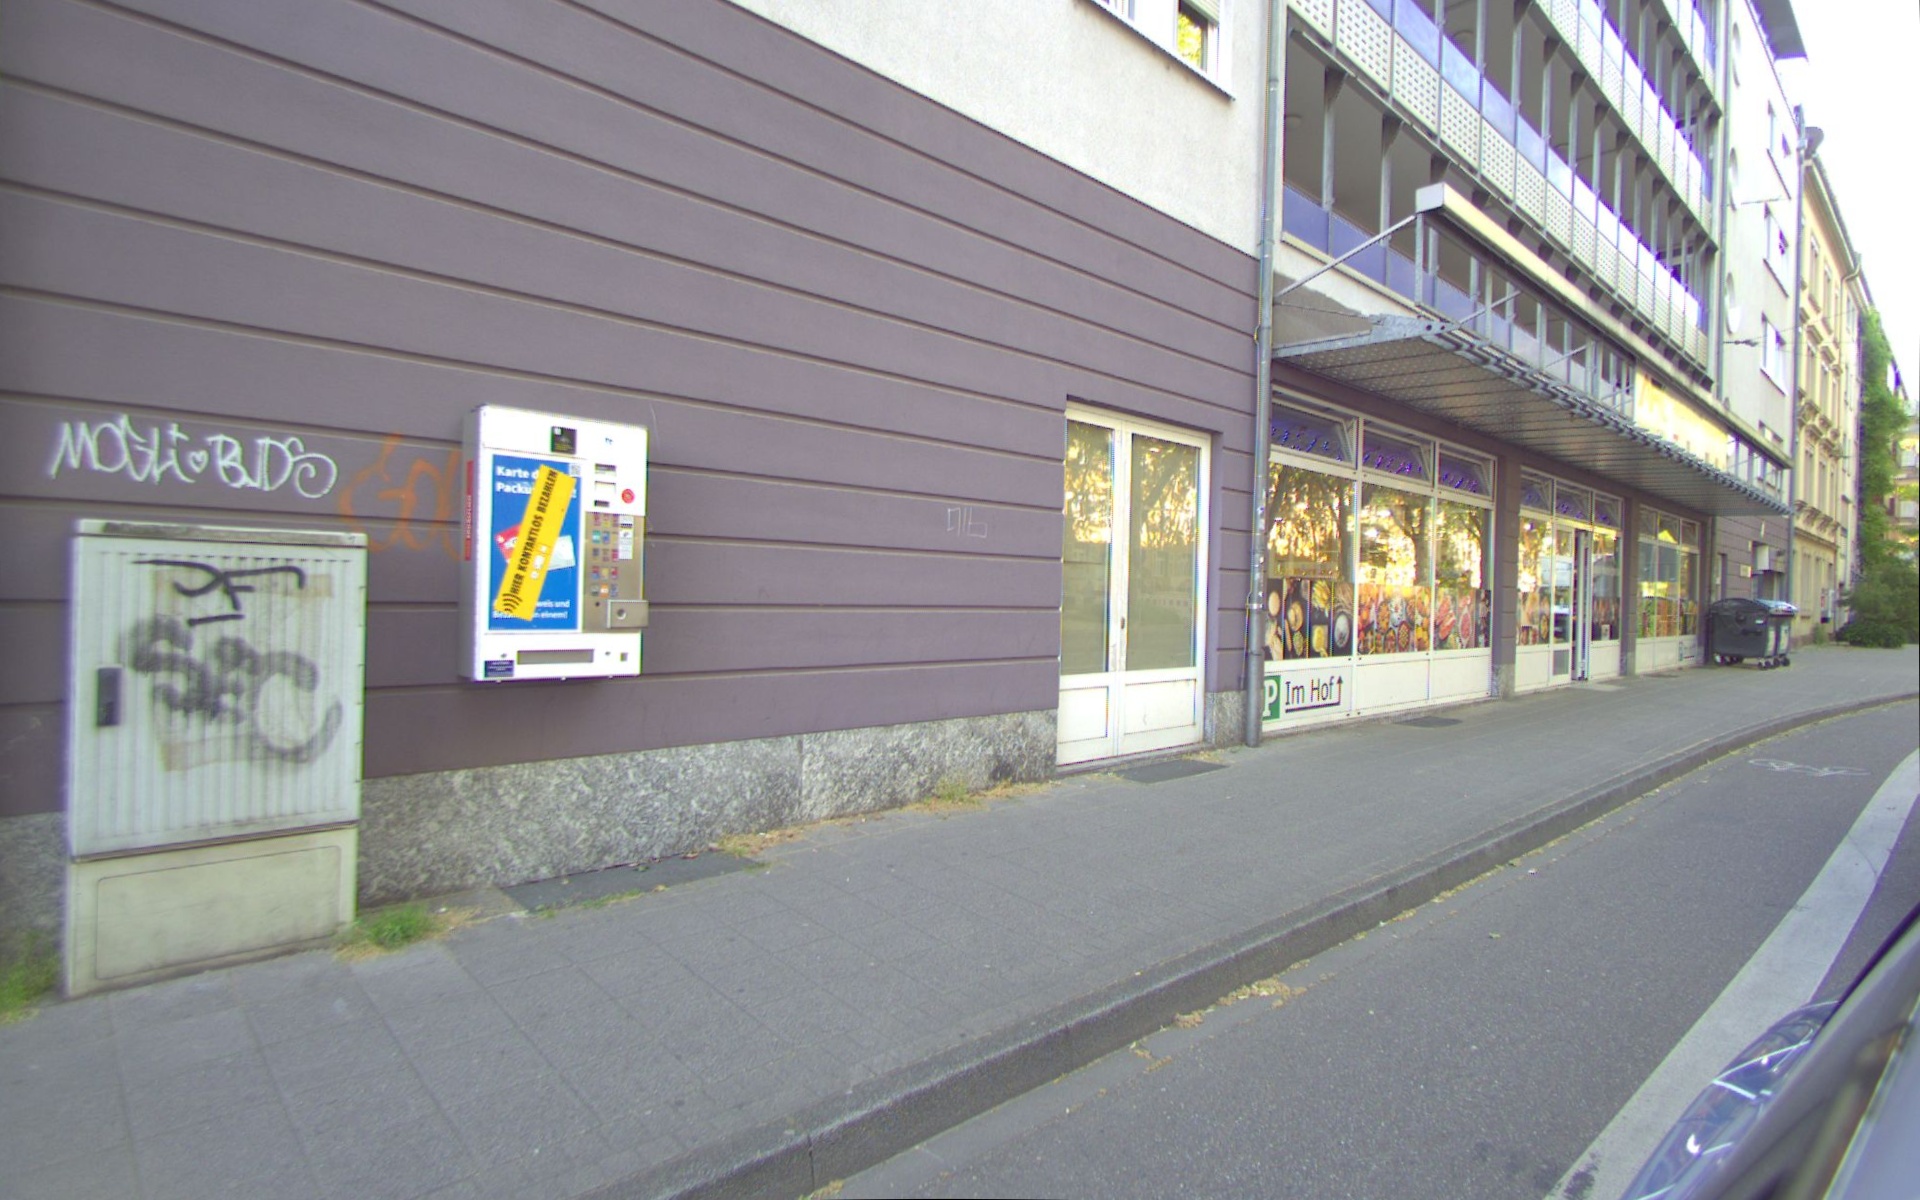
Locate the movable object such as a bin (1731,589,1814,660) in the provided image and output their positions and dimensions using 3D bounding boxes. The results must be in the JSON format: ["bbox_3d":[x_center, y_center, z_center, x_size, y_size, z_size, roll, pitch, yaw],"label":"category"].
[{"bbox_3d":[17.788,0.520,22.162,1.282,1.464,1.123,1,1,-38],"label":"movable object such as a bin"}]

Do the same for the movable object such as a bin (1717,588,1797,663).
[{"bbox_3d":[16.439,0.500,20.875,1.274,1.465,1.068,1,1,-42],"label":"movable object such as a bin"}]
